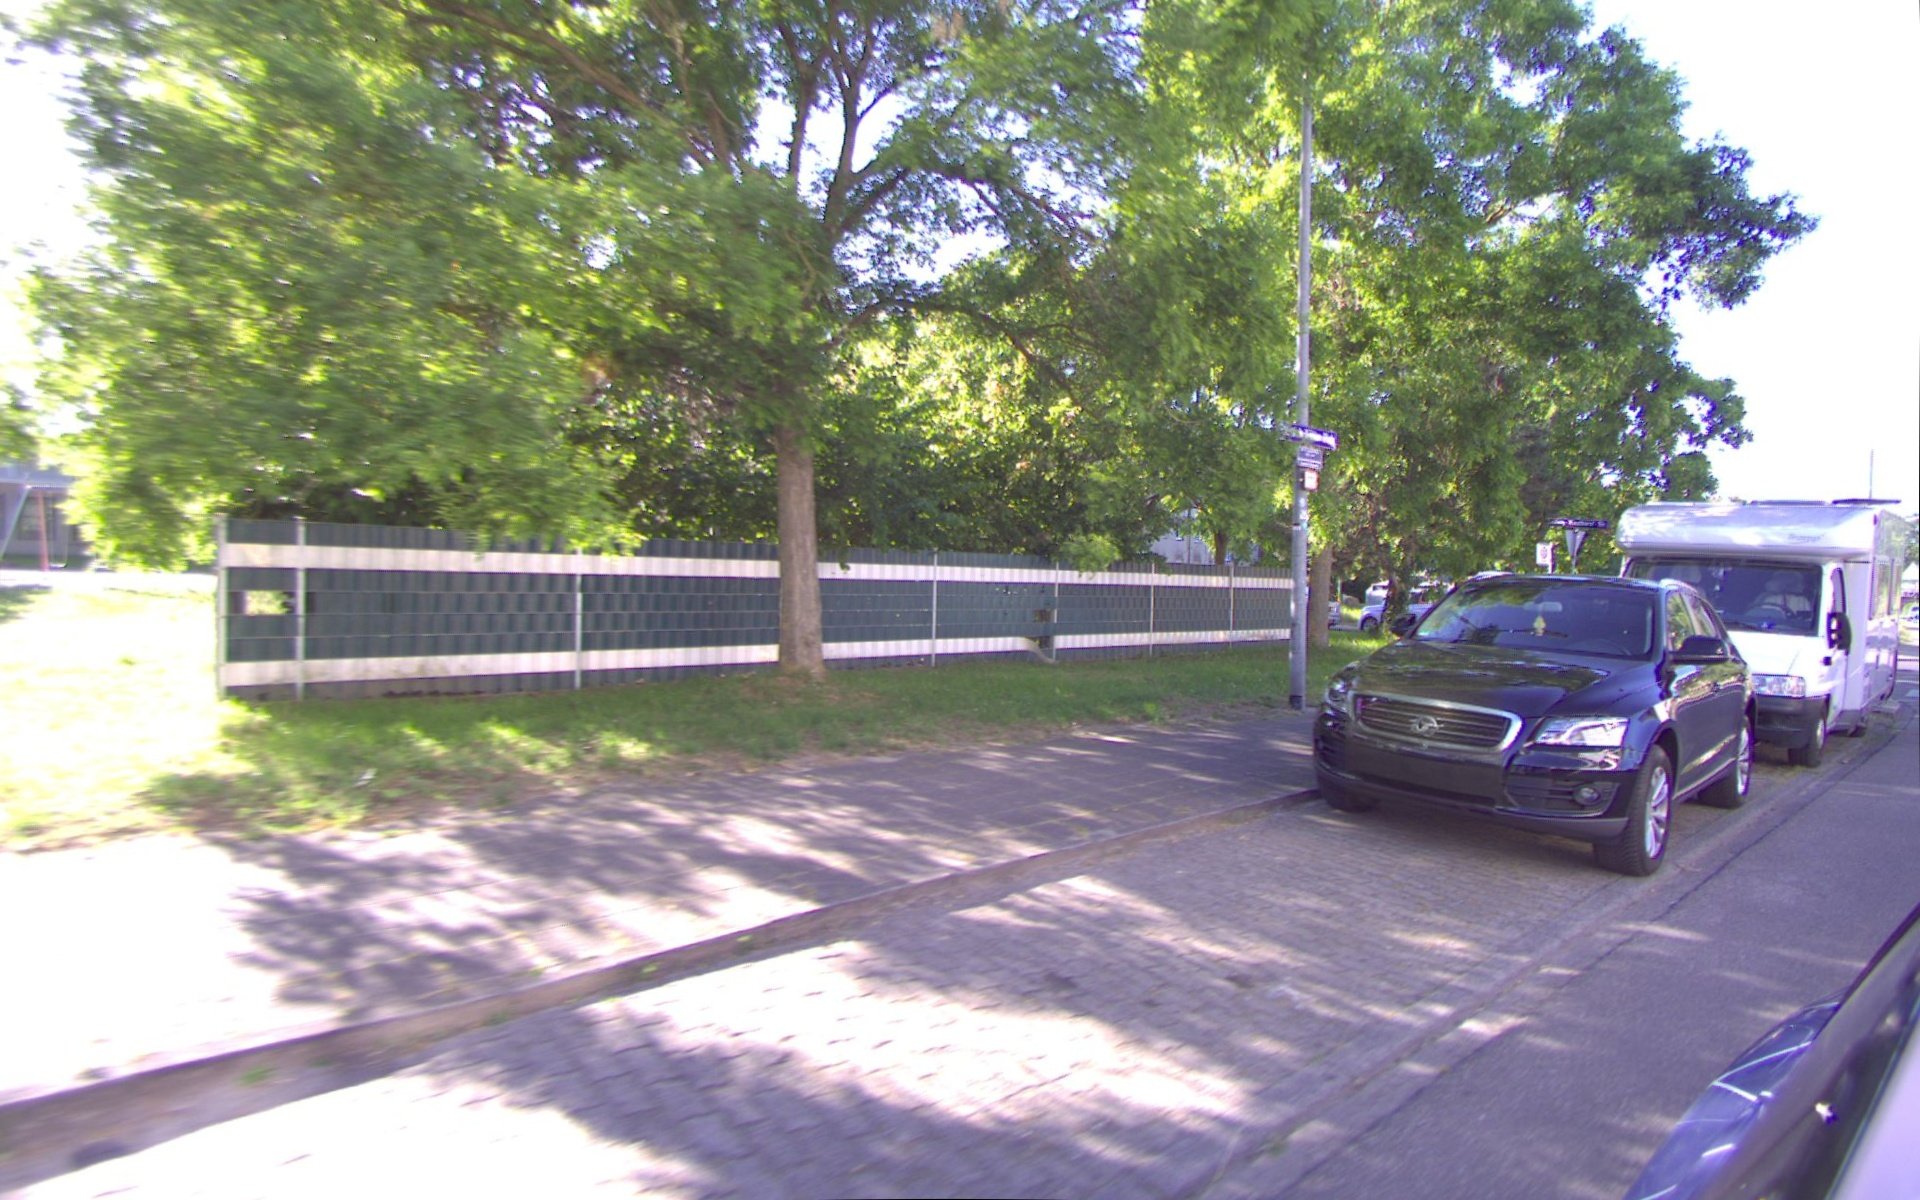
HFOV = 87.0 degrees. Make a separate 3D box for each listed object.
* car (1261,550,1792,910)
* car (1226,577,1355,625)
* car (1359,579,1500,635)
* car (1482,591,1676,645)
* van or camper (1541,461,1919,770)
[{"bbox_3d":[4.187,0.591,7.103,4.461,1.660,1.996,0,4,-44],"label":"car"},{"bbox_3d":[12.047,0.012,37.093,1.937,1.561,4.115,2,1,-37],"label":"car"},{"bbox_3d":[15.075,0.185,32.666,1.794,1.597,3.697,1,2,-36],"label":"car"},{"bbox_3d":[17.711,0.489,29.128,1.714,1.354,4.436,2,0,-39],"label":"car"},{"bbox_3d":[9.154,0.040,11.573,6.315,2.627,2.357,0,5,-42],"label":"van or camper"}]
